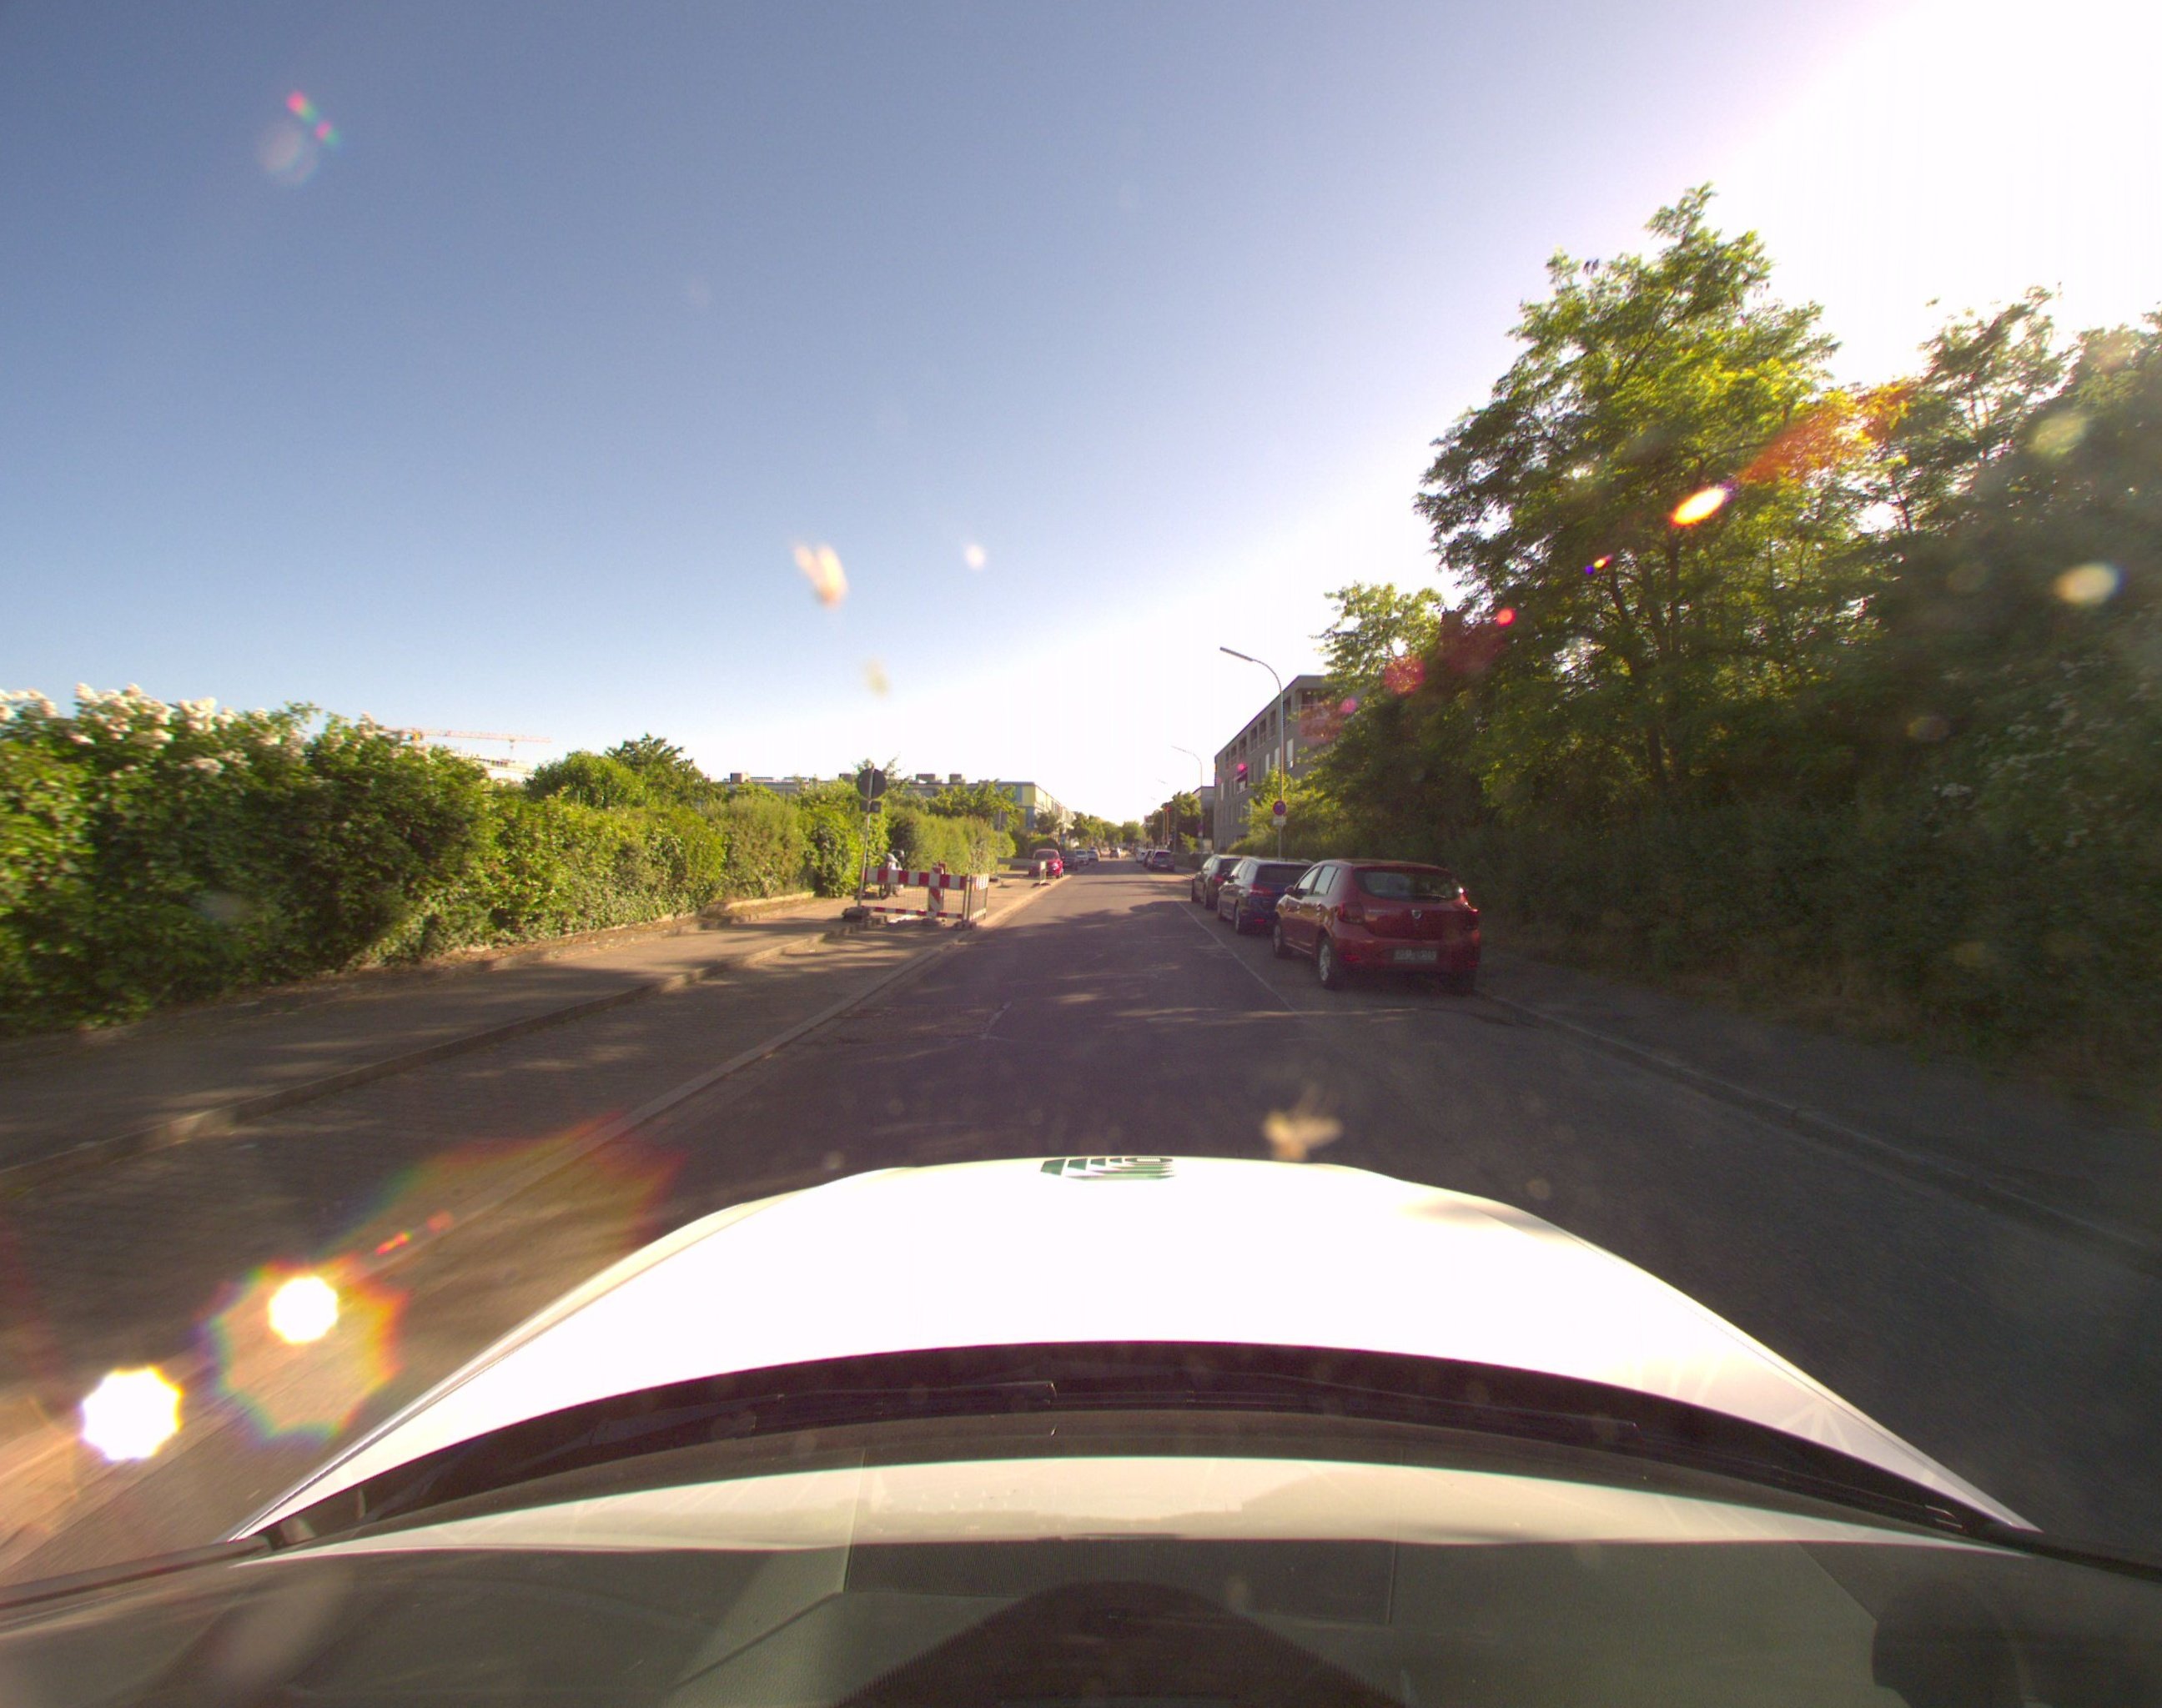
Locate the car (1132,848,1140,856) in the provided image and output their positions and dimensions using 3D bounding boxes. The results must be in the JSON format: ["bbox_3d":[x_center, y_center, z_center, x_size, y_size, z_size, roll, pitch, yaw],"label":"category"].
[{"bbox_3d":[11.311,-0.459,168.763,1.439,1.549,3.616,2,0,2],"label":"car"}]

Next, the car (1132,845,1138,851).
[{"bbox_3d":[12.876,-1.414,194.149,1.439,1.549,3.616,2,0,2],"label":"car"}]

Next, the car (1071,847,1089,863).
[{"bbox_3d":[-0.048,0.116,77.985,1.553,1.494,3.761,0,0,2],"label":"car"}]

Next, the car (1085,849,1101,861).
[{"bbox_3d":[1.594,0.102,107.303,1.847,1.428,4.137,2,0,2],"label":"car"}]

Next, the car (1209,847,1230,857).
[{"bbox_3d":[21.819,-0.296,128.375,3.200,1.460,1.452,2,0,5],"label":"car"}]

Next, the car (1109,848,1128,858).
[{"bbox_3d":[6.056,-0.110,131.143,1.674,1.549,3.635,2,0,26],"label":"car"}]

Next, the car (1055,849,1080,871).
[{"bbox_3d":[-0.971,0.404,60.951,1.553,1.494,3.573,3,0,2],"label":"car"}]

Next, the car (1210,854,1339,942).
[{"bbox_3d":[3.801,0.782,16.762,1.648,1.444,4.658,3,0,2],"label":"car"}]

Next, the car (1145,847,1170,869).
[{"bbox_3d":[5.982,0.319,64.119,1.670,1.608,4.181,3,0,2],"label":"car"}]

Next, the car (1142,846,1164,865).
[{"bbox_3d":[6.527,0.132,74.234,1.735,1.625,4.181,2,0,2],"label":"car"}]

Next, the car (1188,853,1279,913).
[{"bbox_3d":[4.138,0.719,22.793,1.747,1.413,4.658,3,0,1],"label":"car"}]

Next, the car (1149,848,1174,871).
[{"bbox_3d":[5.796,0.394,58.742,1.615,1.526,3.905,3,0,4],"label":"car"}]

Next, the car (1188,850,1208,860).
[{"bbox_3d":[19.553,0.208,136.552,3.200,1.549,1.452,2,0,5],"label":"car"}]

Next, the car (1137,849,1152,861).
[{"bbox_3d":[7.635,0.119,98.166,1.735,1.428,4.137,2,0,2],"label":"car"}]

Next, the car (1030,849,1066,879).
[{"bbox_3d":[-1.701,0.475,42.587,1.553,1.494,3.573,0,0,2],"label":"car"}]

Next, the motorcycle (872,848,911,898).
[{"bbox_3d":[-5.047,0.496,21.845,0.565,1.268,2.090,2,0,-1],"label":"motorcycle"}]

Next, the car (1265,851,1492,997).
[{"bbox_3d":[3.650,0.744,10.718,1.648,1.486,3.841,3,0,2],"label":"car"}]
